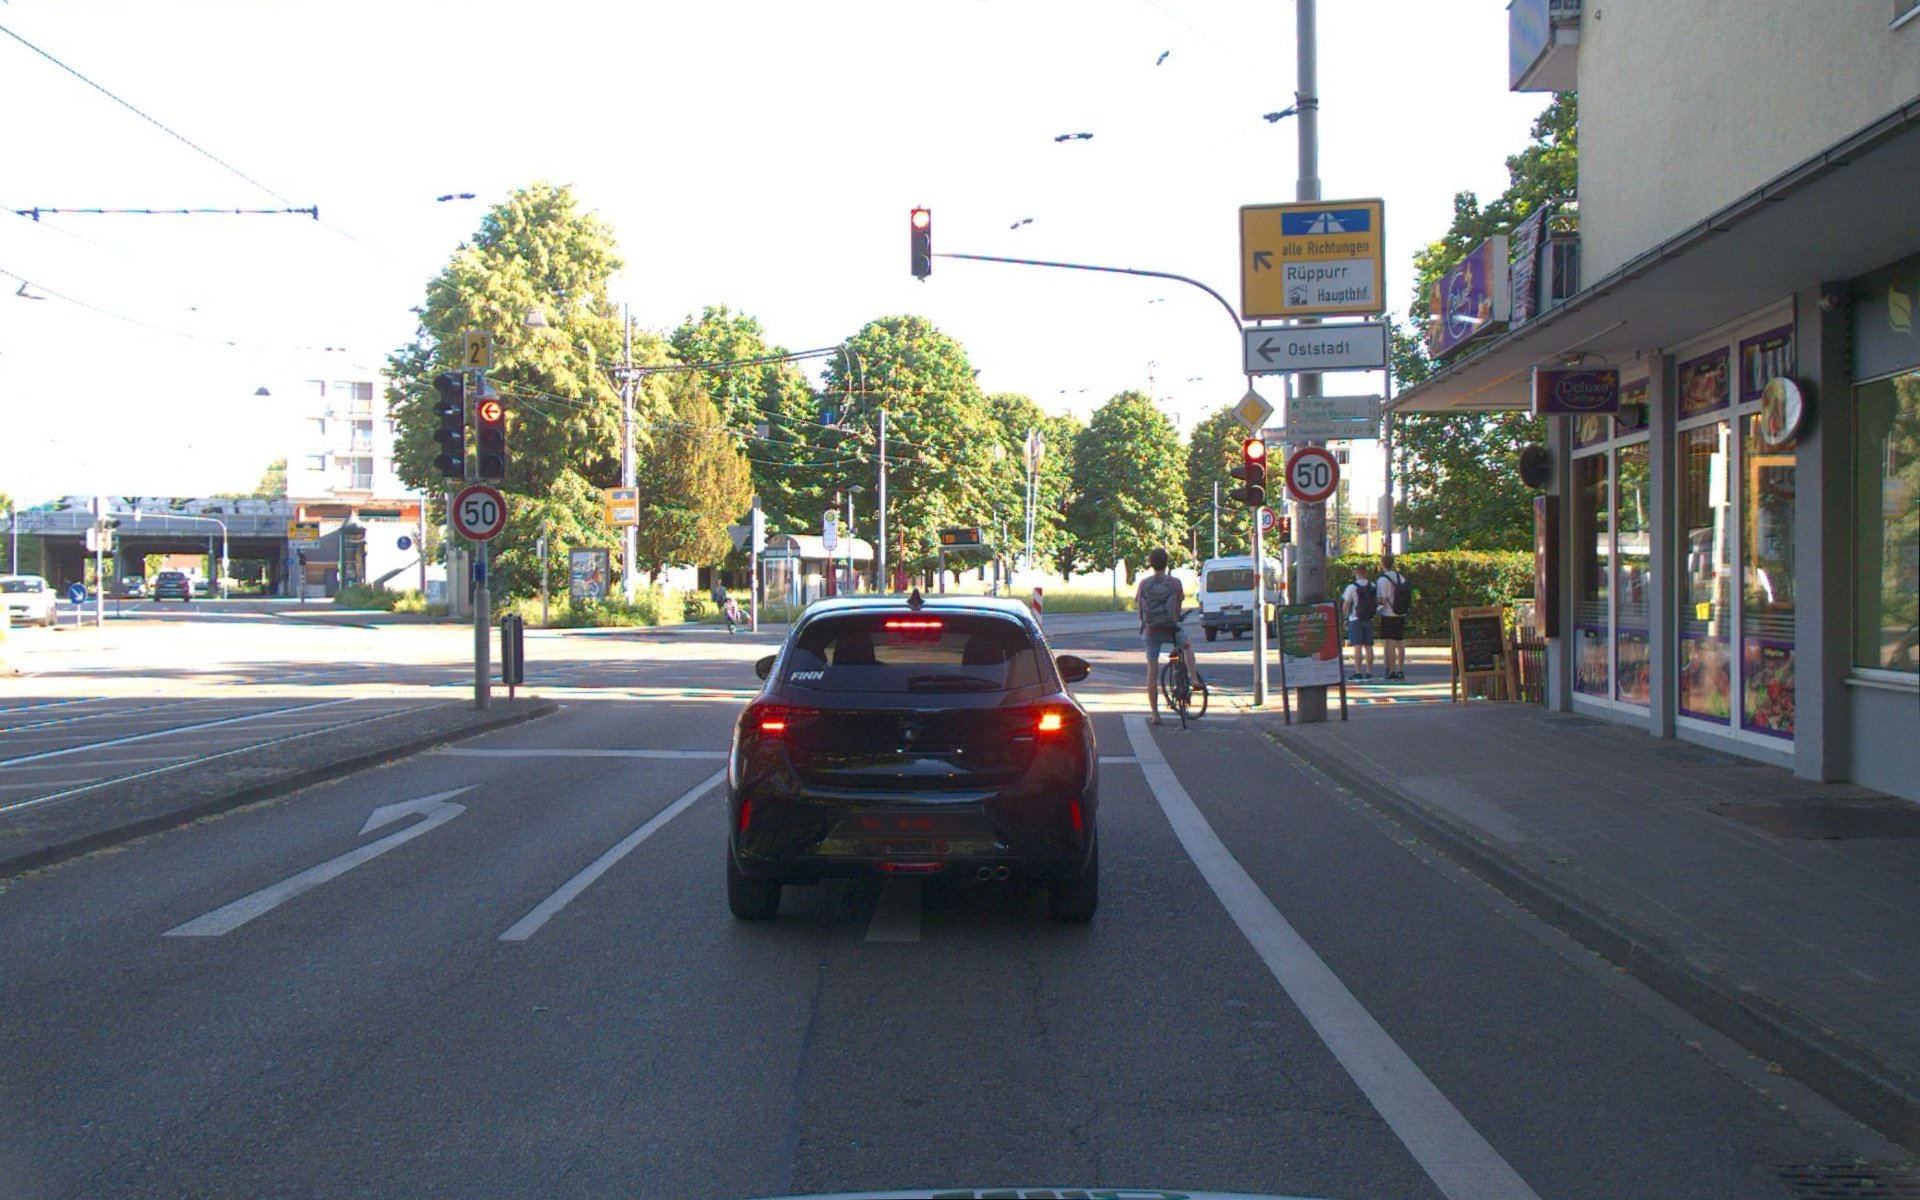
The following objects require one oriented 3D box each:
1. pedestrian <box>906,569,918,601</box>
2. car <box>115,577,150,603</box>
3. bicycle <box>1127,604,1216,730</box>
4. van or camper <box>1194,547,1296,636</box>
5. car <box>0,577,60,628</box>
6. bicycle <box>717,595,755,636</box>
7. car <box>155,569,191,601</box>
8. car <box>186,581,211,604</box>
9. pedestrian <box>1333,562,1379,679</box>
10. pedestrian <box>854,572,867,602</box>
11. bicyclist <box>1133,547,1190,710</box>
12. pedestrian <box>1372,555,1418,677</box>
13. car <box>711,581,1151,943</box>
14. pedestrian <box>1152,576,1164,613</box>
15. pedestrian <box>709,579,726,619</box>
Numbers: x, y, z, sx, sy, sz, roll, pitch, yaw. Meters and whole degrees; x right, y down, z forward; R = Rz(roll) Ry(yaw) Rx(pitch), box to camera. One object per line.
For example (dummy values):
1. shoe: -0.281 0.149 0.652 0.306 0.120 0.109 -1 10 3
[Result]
1. pedestrian: -2.912 -0.884 100.096 0.607 1.904 0.520 1 -1 7
2. car: -55.122 -0.656 110.268 1.860 1.613 3.809 1 0 -24
3. bicycle: 2.317 0.691 17.941 0.737 1.256 2.017 0 1 14
4. van or camper: 8.040 -0.224 46.355 1.987 2.351 4.540 1 0 20
5. car: -31.125 0.069 54.849 1.860 1.613 3.809 1 0 -24
6. bicycle: -6.235 0.420 46.187 0.780 1.083 2.184 0 1 -1
7. car: -47.660 -0.915 100.244 1.884 1.914 4.808 -1 1 -25
8. car: -59.255 -0.576 128.778 1.732 1.713 3.712 1 0 -25
9. pedestrian: 6.152 0.311 25.657 0.620 1.794 0.582 1 -1 19
10. pedestrian: -6.376 -0.801 106.010 0.723 1.904 0.661 1 -1 -7
11. bicyclist: 2.175 0.302 17.816 0.522 1.722 0.568 0 0 16
12. pedestrian: 6.733 0.248 25.593 0.620 1.852 0.745 1 -1 19
13. car: -0.146 0.650 8.805 1.803 1.487 3.983 0 1 -1
14. pedestrian: 10.465 -0.285 87.293 0.591 1.904 0.520 1 -1 6
15. pedestrian: -9.257 -0.041 63.090 0.558 1.498 0.665 0 0 -1
